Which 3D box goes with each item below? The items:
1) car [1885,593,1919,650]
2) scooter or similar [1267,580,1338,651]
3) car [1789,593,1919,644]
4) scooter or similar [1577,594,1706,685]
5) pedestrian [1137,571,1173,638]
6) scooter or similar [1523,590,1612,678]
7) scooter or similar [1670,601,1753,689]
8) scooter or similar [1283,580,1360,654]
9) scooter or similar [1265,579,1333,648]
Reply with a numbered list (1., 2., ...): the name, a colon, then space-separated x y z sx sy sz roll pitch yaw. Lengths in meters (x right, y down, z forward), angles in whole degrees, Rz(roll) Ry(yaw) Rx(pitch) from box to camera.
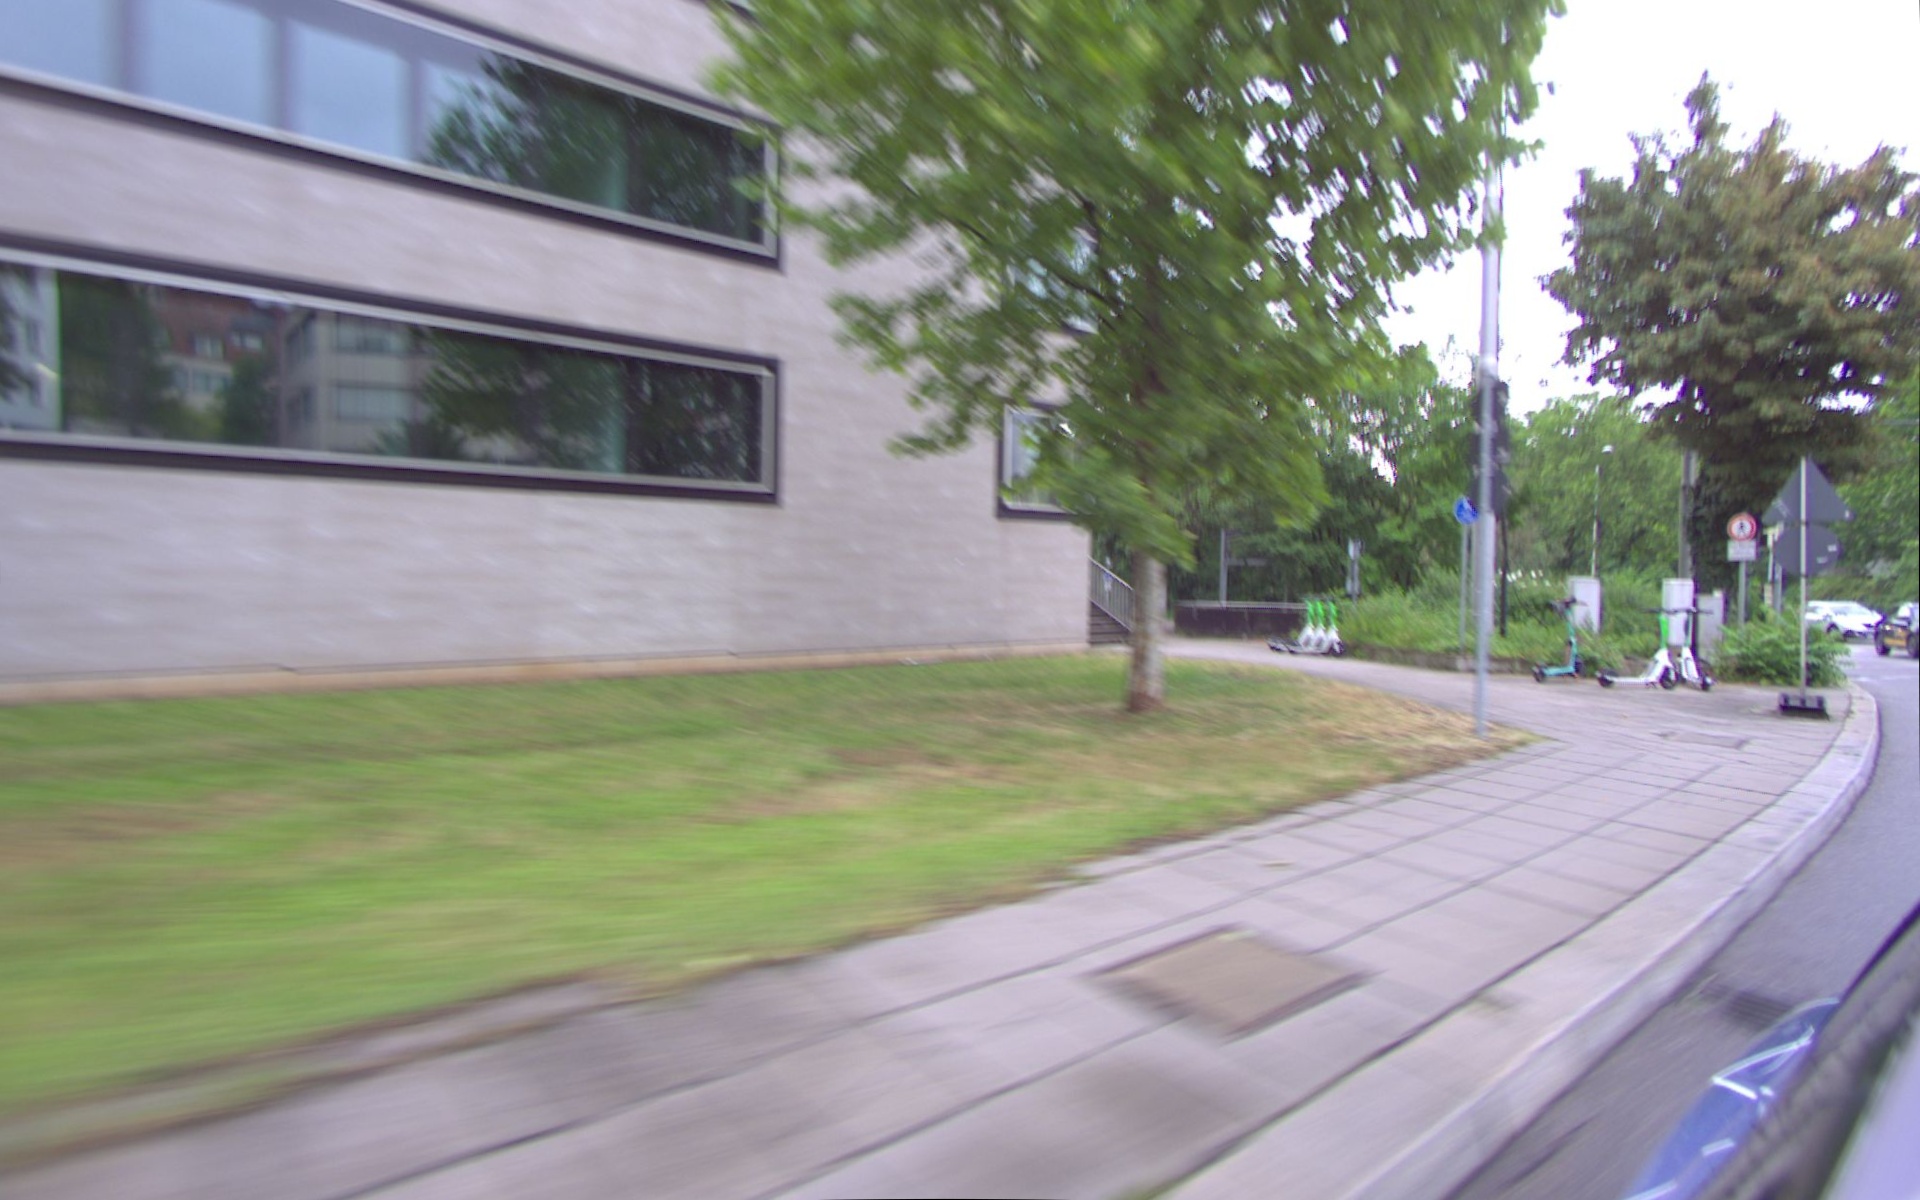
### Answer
1. car: 28.405 0.637 28.944 1.914 1.560 3.961 1 2 28
2. scooter or similar: 6.786 0.281 20.095 0.464 1.328 1.239 0 2 -41
3. car: 36.173 0.700 41.119 1.971 1.766 4.636 2 2 14
4. scooter or similar: 9.680 0.546 14.409 1.313 1.215 0.689 1 2 -1
5. pedestrian: 4.144 0.090 21.503 0.529 1.389 0.480 0 2 -40
6. scooter or similar: 8.875 0.473 14.781 1.299 1.215 0.565 0 2 -33
7. scooter or similar: 10.953 0.621 14.794 0.630 1.142 1.580 2 2 25
8. scooter or similar: 6.855 0.305 19.204 0.545 1.328 1.239 0 2 -41
9. scooter or similar: 6.931 0.261 20.731 0.464 1.328 1.239 0 2 -41
